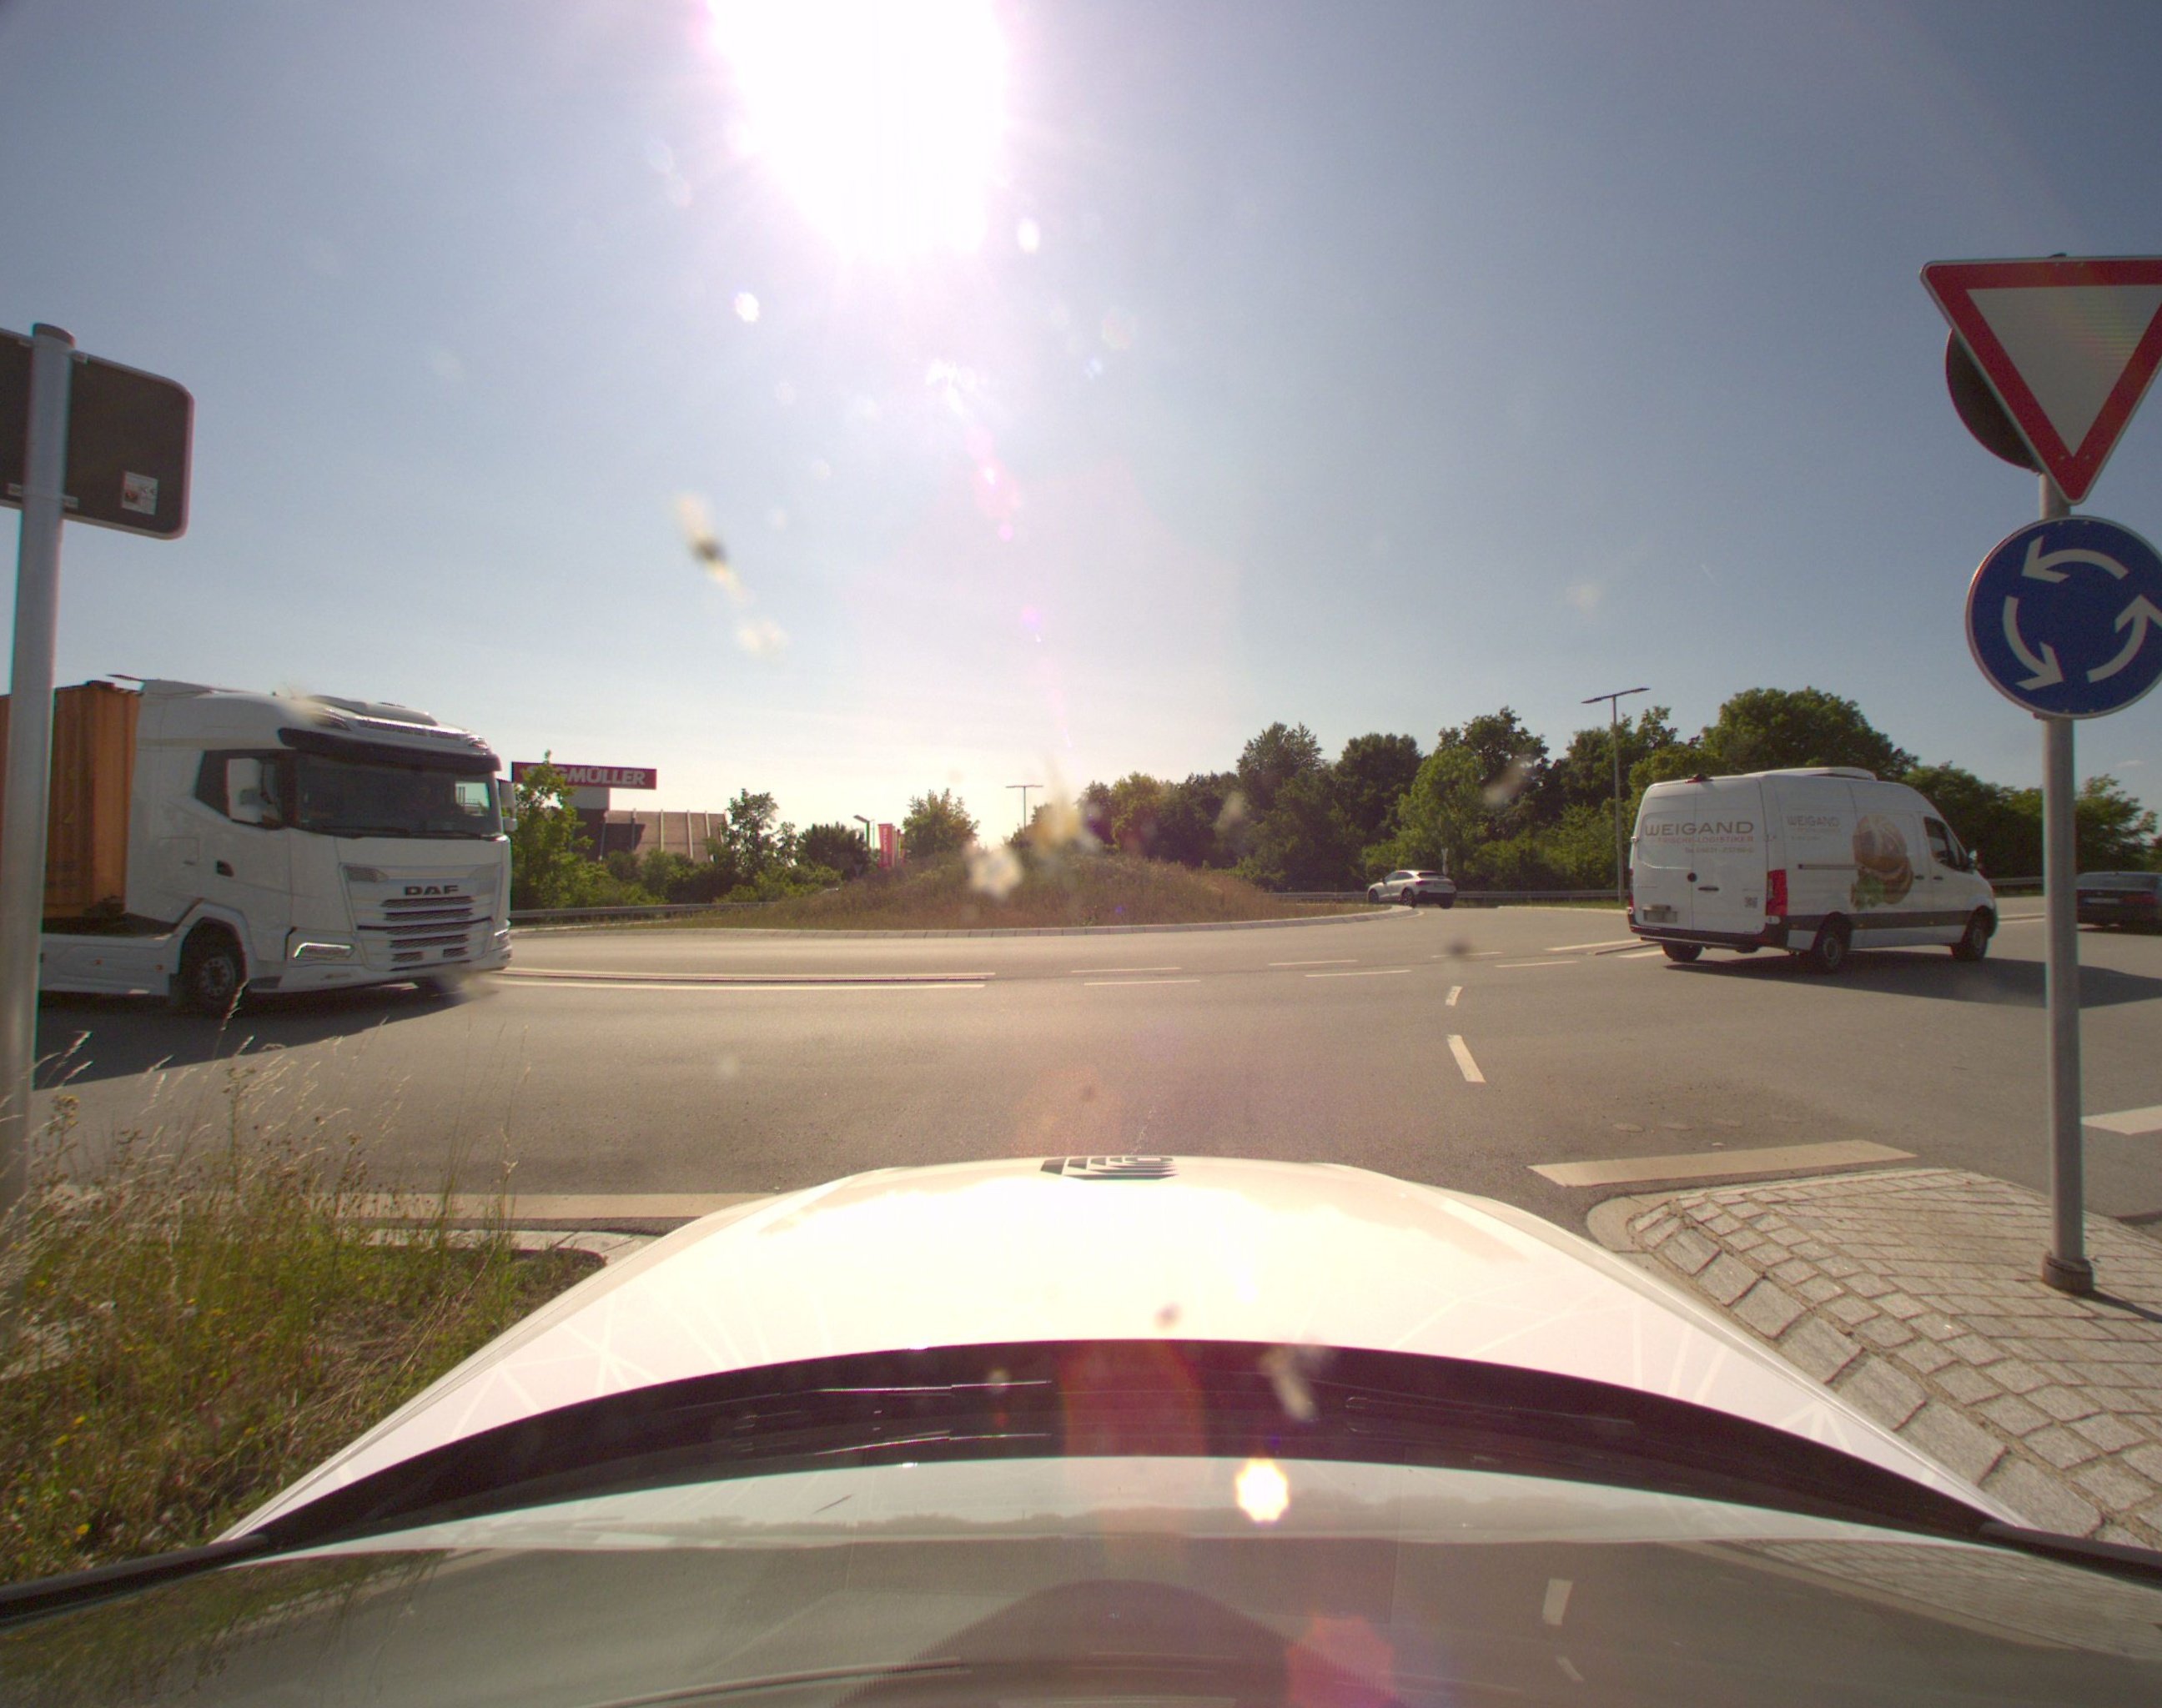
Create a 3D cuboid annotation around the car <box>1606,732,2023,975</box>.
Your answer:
[{"bbox_3d":[10.781,0.031,11.918,6.143,2.921,2.069,0,-1,-23],"label":"car"}]

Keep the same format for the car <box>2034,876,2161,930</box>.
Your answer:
[{"bbox_3d":[25.196,1.133,19.577,3.864,1.182,1.666,0,-1,-19],"label":"car"}]

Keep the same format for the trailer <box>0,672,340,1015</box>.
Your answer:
[{"bbox_3d":[-17.519,0.007,12.515,12.233,4.154,2.570,-1,-1,13],"label":"trailer"}]

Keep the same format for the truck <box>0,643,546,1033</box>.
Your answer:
[{"bbox_3d":[-10.763,-0.110,10.777,6.362,4.107,2.675,-1,-1,17],"label":"truck"}]

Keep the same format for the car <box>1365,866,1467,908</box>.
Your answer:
[{"bbox_3d":[13.546,1.293,33.267,1.841,1.596,4.309,0,-1,-10],"label":"car"}]
